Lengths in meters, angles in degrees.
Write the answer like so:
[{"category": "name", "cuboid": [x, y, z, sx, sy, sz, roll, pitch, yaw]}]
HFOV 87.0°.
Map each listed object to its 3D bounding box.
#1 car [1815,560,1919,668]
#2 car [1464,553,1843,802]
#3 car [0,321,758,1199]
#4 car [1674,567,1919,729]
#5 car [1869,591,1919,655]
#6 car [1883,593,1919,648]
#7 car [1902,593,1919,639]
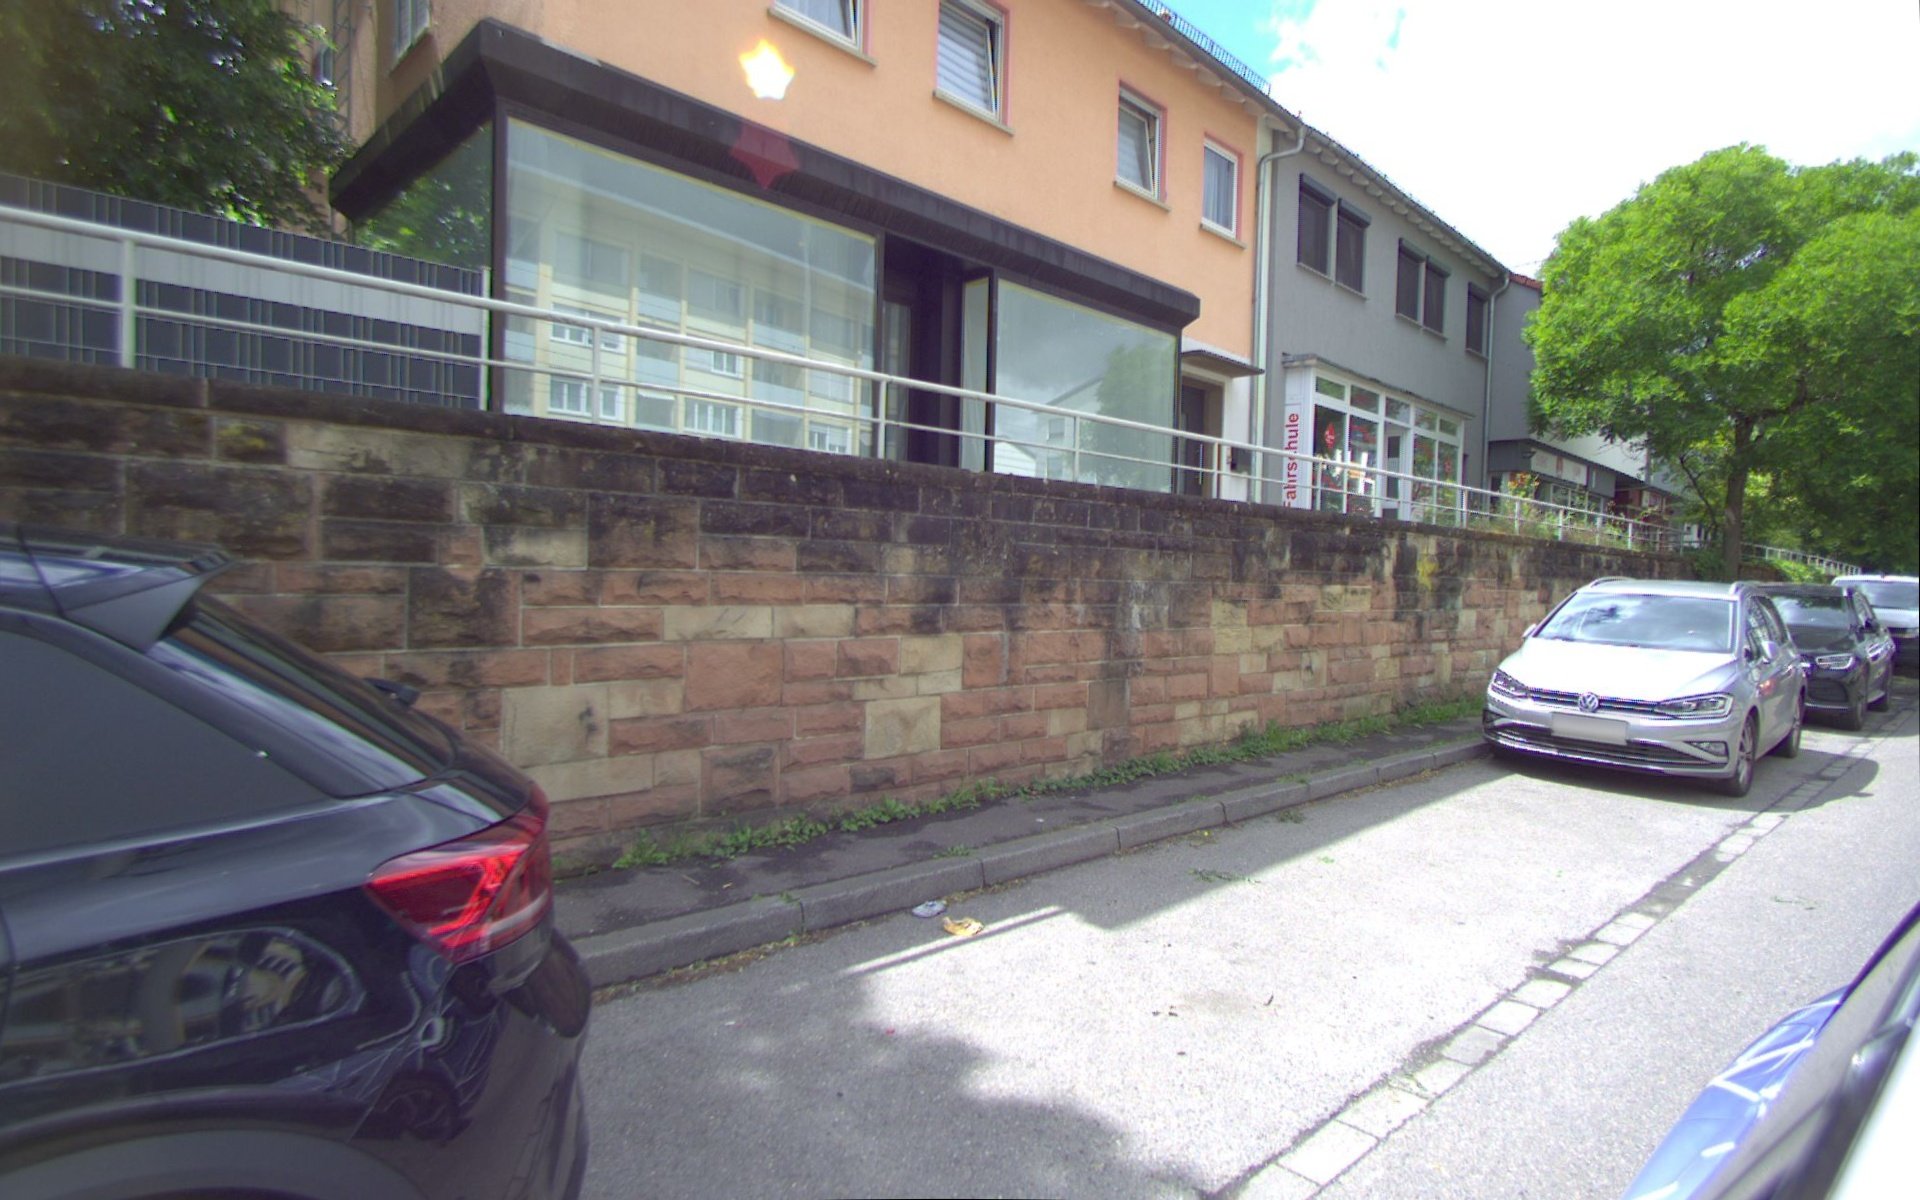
[{"category": "car", "cuboid": [19.229, 0.239, 20.717, 4.927, 1.994, 1.976, 0, 1, -42]}, {"category": "car", "cuboid": [6.186, 0.480, 8.829, 4.176, 1.637, 1.793, 0, 3, -43]}, {"category": "car", "cuboid": [-2.411, 0.509, 0.982, 3.930, 1.659, 1.855, 0, 3, -41]}, {"category": "car", "cuboid": [10.730, 0.480, 12.841, 4.372, 1.637, 1.793, 0, 4, -43]}, {"category": "car", "cuboid": [23.458, 0.540, 24.644, 3.671, 1.446, 1.576, 0, 1, -42]}, {"category": "car", "cuboid": [27.085, 0.545, 28.209, 4.077, 1.446, 1.781, 0, 2, -45]}, {"category": "car", "cuboid": [32.028, 0.513, 32.822, 4.076, 1.446, 1.783, 0, 2, -42]}]
